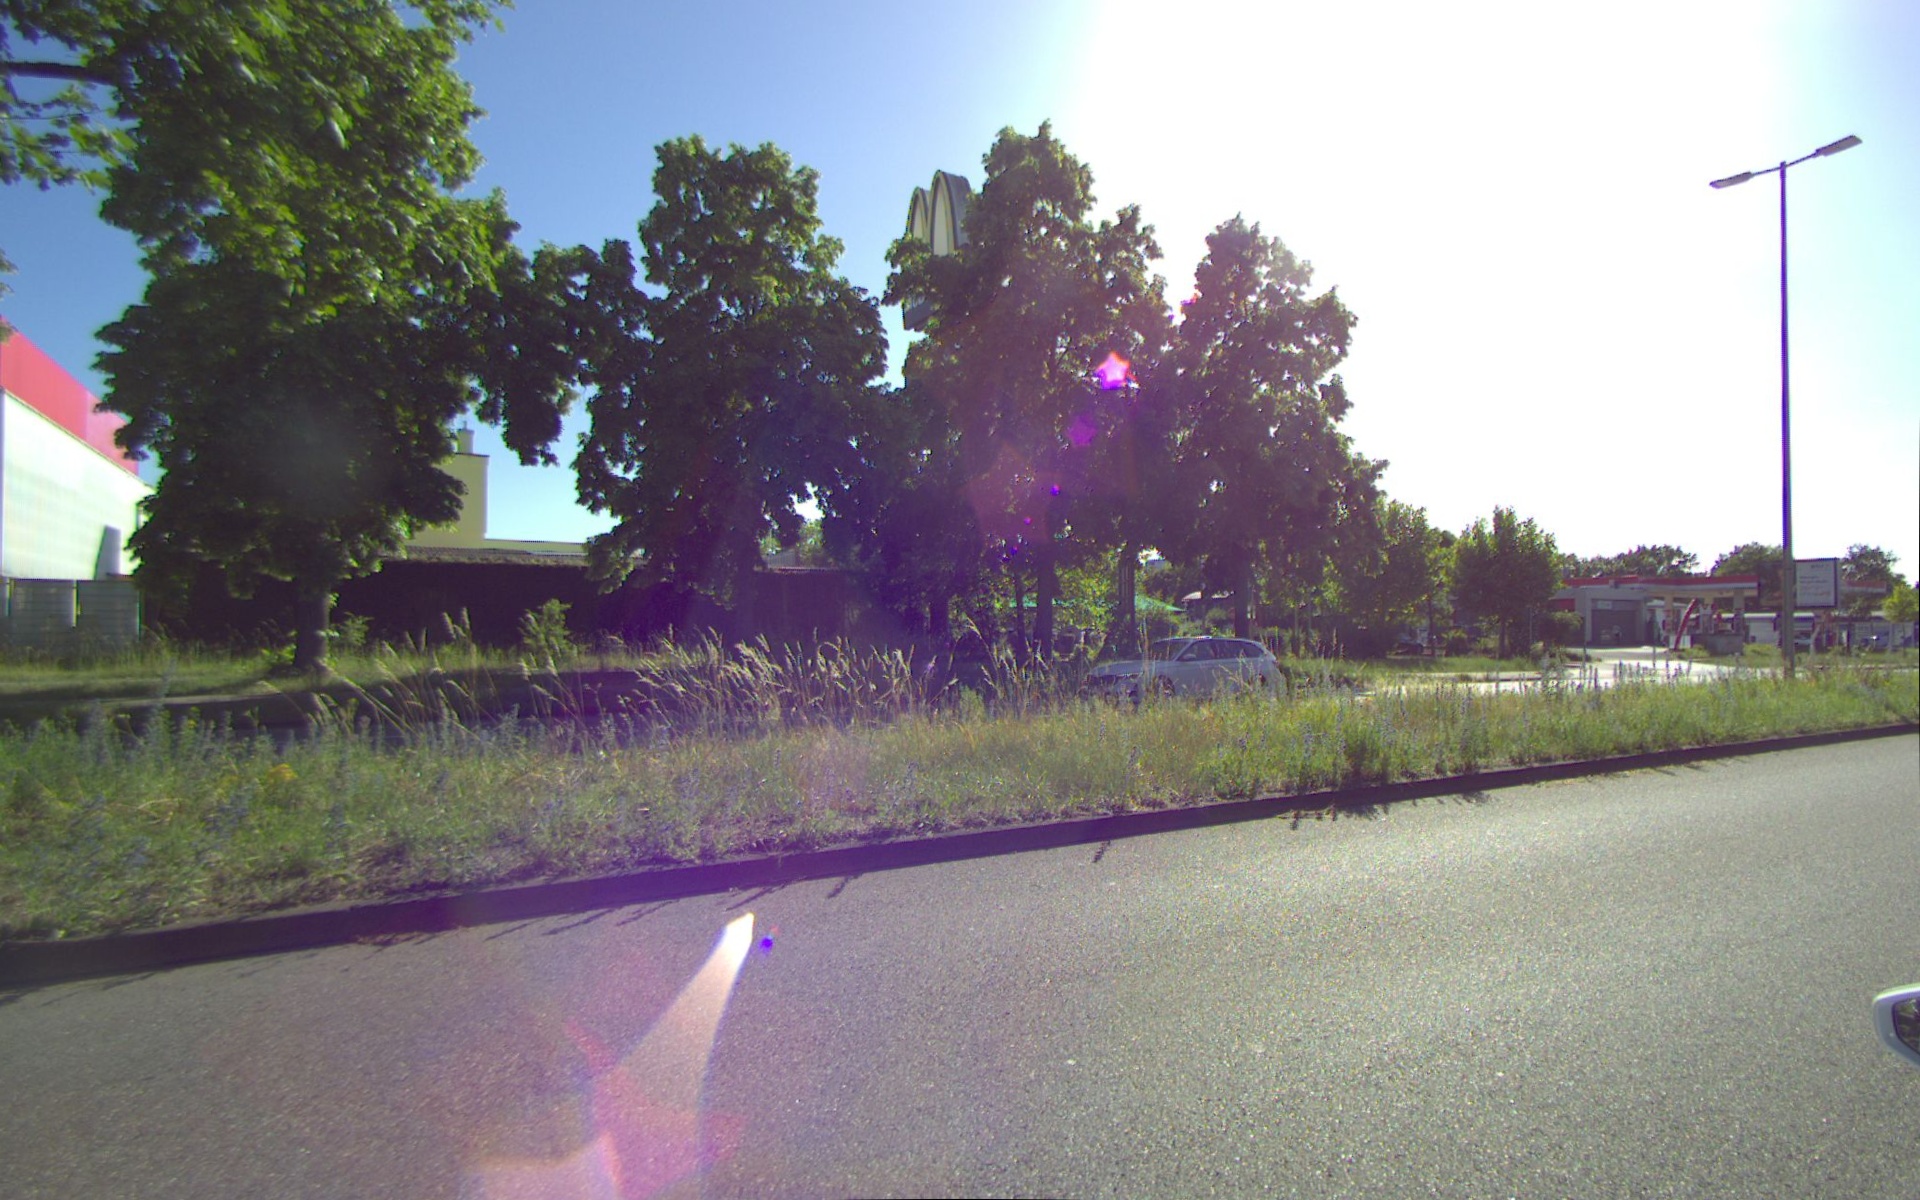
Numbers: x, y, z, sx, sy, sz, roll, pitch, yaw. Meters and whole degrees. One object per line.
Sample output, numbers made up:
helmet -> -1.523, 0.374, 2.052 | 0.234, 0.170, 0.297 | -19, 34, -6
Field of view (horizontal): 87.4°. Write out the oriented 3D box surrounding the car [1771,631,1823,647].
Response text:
car -> 97.761, 4.551, 117.374 | 1.979, 1.867, 4.359 | 1, -2, -33

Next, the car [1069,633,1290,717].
car -> 4.577, 1.504, 20.783 | 4.476, 1.540, 1.748 | 1, -4, -31
